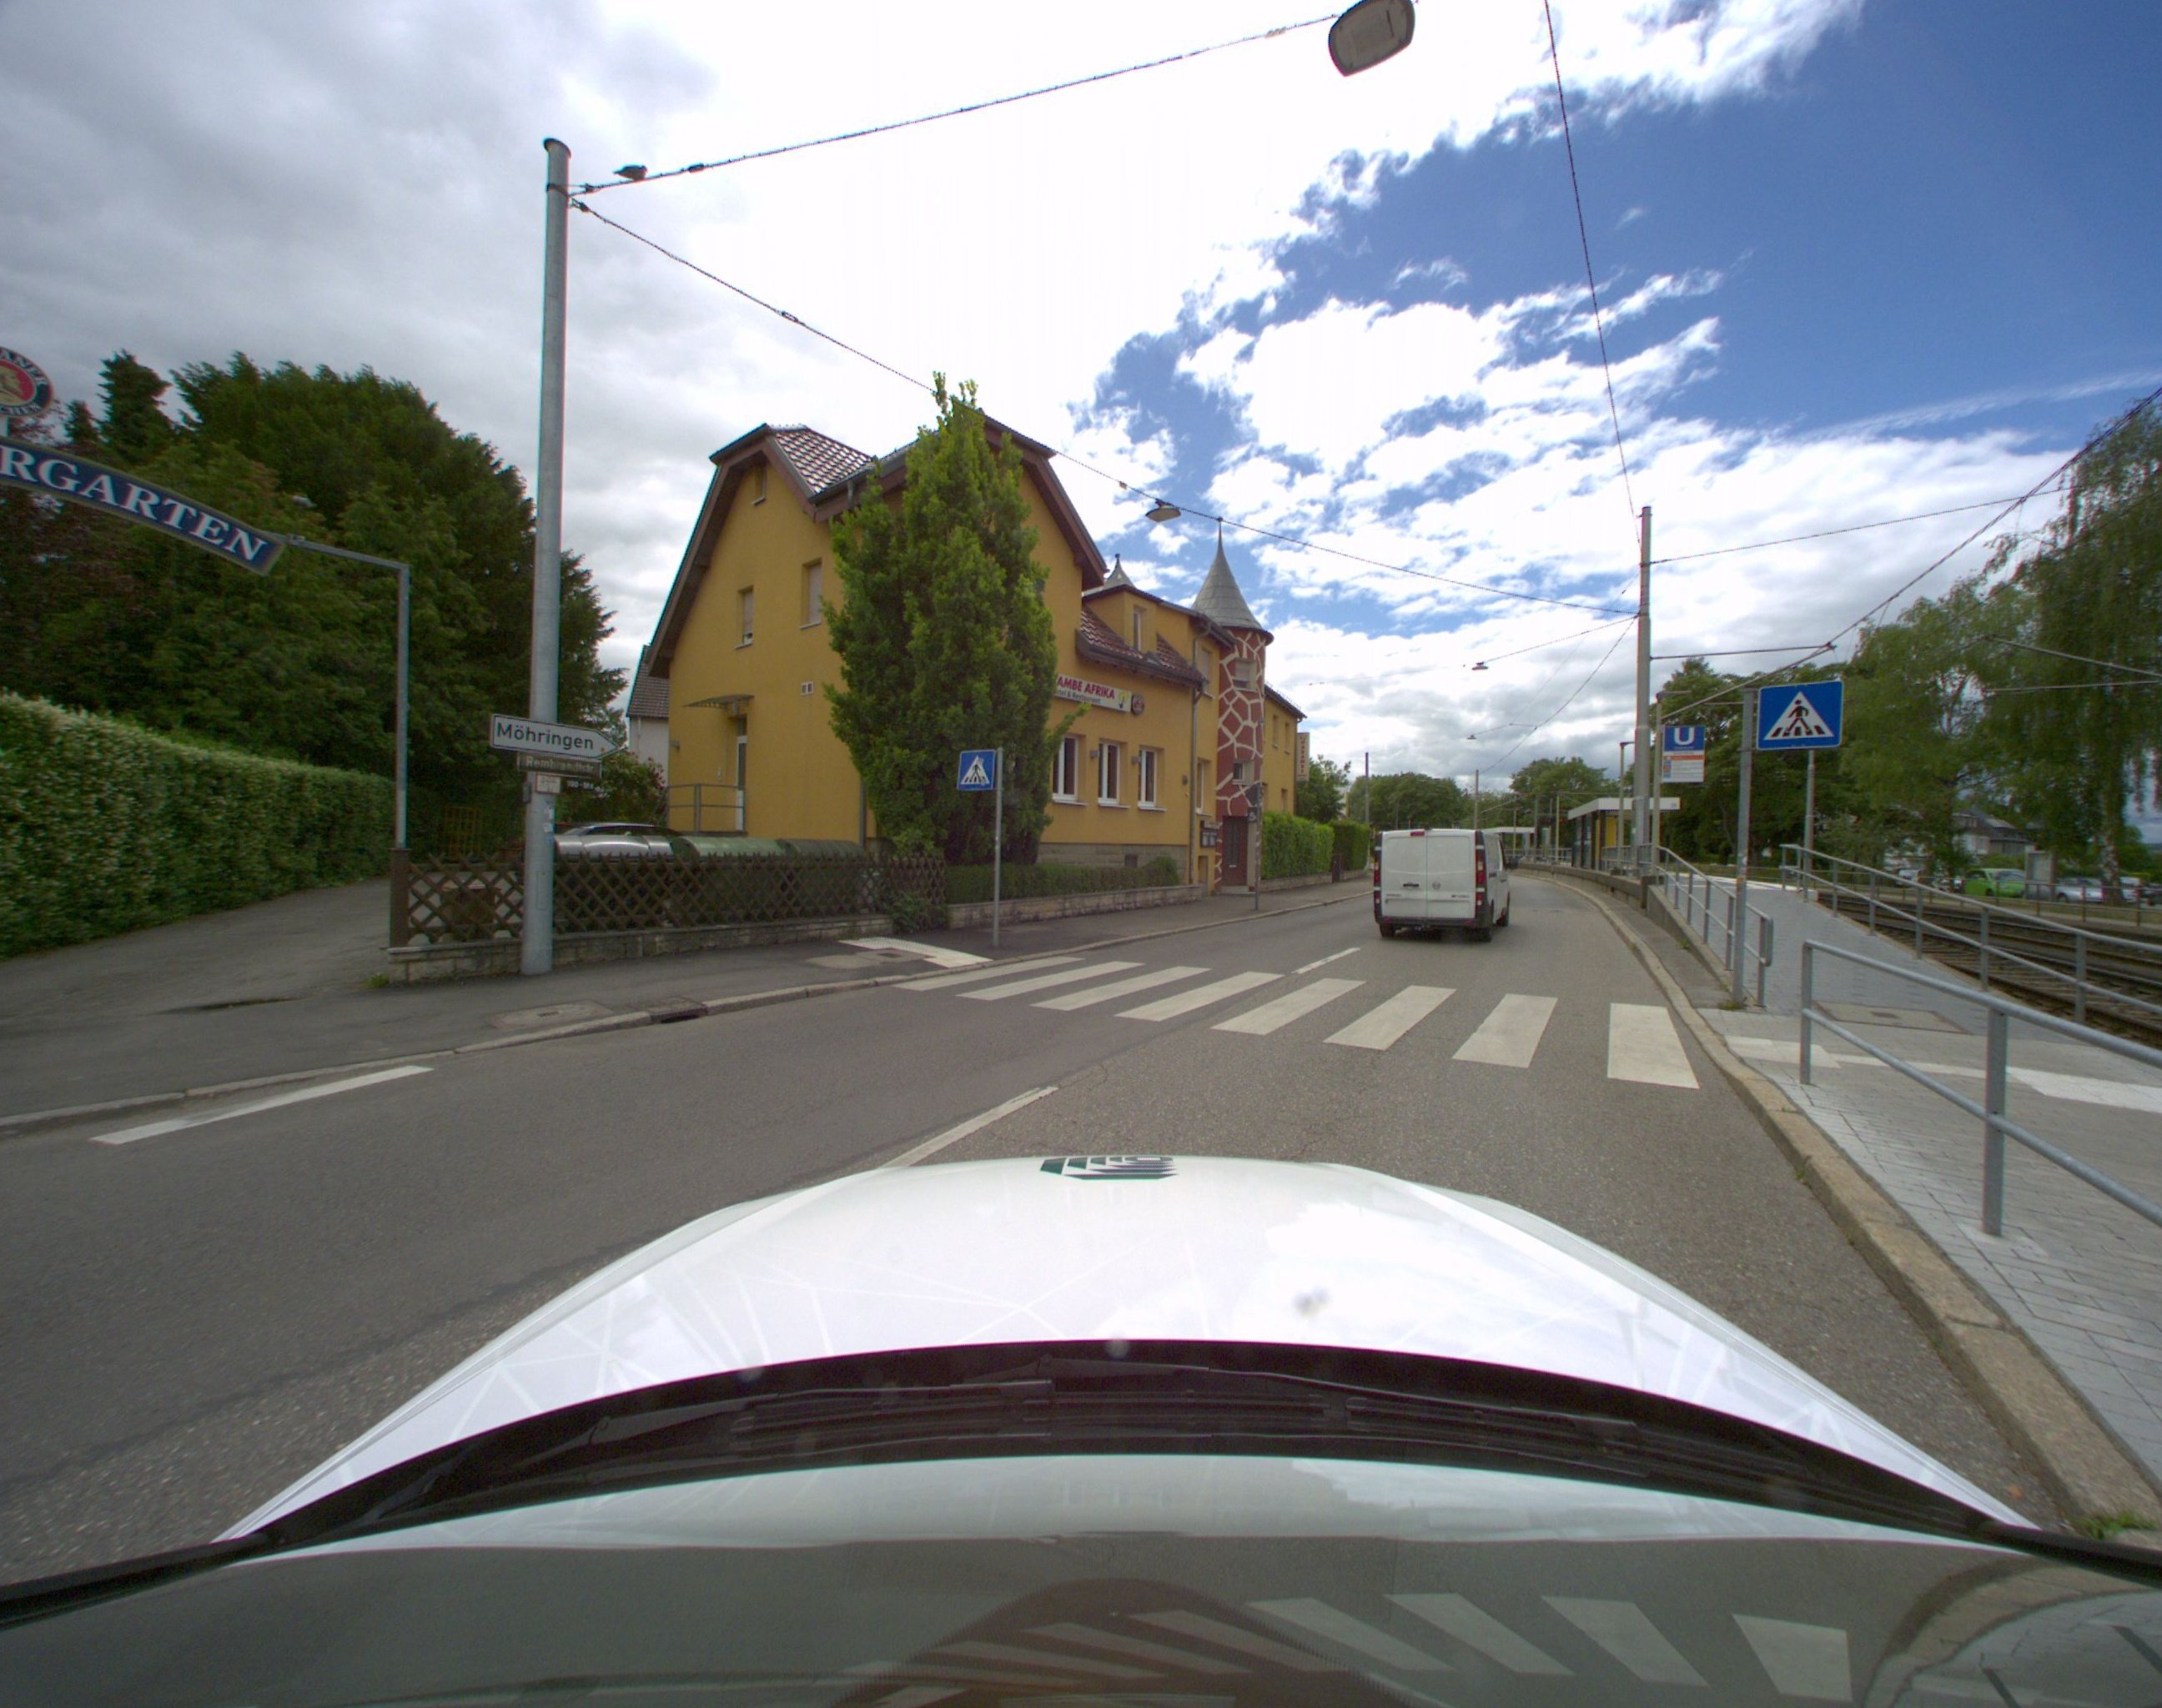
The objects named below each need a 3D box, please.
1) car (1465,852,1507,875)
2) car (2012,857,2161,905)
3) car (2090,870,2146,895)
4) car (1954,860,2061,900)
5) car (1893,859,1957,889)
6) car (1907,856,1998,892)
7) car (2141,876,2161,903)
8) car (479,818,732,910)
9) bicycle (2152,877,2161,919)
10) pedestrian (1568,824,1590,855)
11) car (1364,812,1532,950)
[{"bbox_3d":[31.167,0.729,62.833,2.336,1.564,4.394,3,1,20],"label":"car"},{"bbox_3d":[37.598,0.944,30.596,2.044,1.574,4.286,1,1,28],"label":"car"},{"bbox_3d":[73.045,1.966,57.407,1.799,1.635,4.267,2,1,44],"label":"car"},{"bbox_3d":[39.689,1.069,35.019,1.714,1.574,4.024,1,1,28],"label":"car"},{"bbox_3d":[45.478,1.039,43.968,1.823,1.488,4.529,2,1,39],"label":"car"},{"bbox_3d":[42.110,0.930,39.460,1.740,1.574,4.124,1,1,28],"label":"car"},{"bbox_3d":[59.778,1.964,44.260,1.740,1.488,3.924,1,-1,39],"label":"car"},{"bbox_3d":[-8.751,0.115,15.257,1.705,1.427,3.703,5,4,33],"label":"car"},{"bbox_3d":[28.052,1.131,20.191,1.749,1.041,0.560,2,0,24],"label":"bicycle"},{"bbox_3d":[26.964,-0.798,44.098,0.878,1.671,0.915,1,0,25],"label":"pedestrian"},{"bbox_3d":[7.192,0.417,15.573,2.097,2.134,5.475,2,1,32],"label":"car"}]
